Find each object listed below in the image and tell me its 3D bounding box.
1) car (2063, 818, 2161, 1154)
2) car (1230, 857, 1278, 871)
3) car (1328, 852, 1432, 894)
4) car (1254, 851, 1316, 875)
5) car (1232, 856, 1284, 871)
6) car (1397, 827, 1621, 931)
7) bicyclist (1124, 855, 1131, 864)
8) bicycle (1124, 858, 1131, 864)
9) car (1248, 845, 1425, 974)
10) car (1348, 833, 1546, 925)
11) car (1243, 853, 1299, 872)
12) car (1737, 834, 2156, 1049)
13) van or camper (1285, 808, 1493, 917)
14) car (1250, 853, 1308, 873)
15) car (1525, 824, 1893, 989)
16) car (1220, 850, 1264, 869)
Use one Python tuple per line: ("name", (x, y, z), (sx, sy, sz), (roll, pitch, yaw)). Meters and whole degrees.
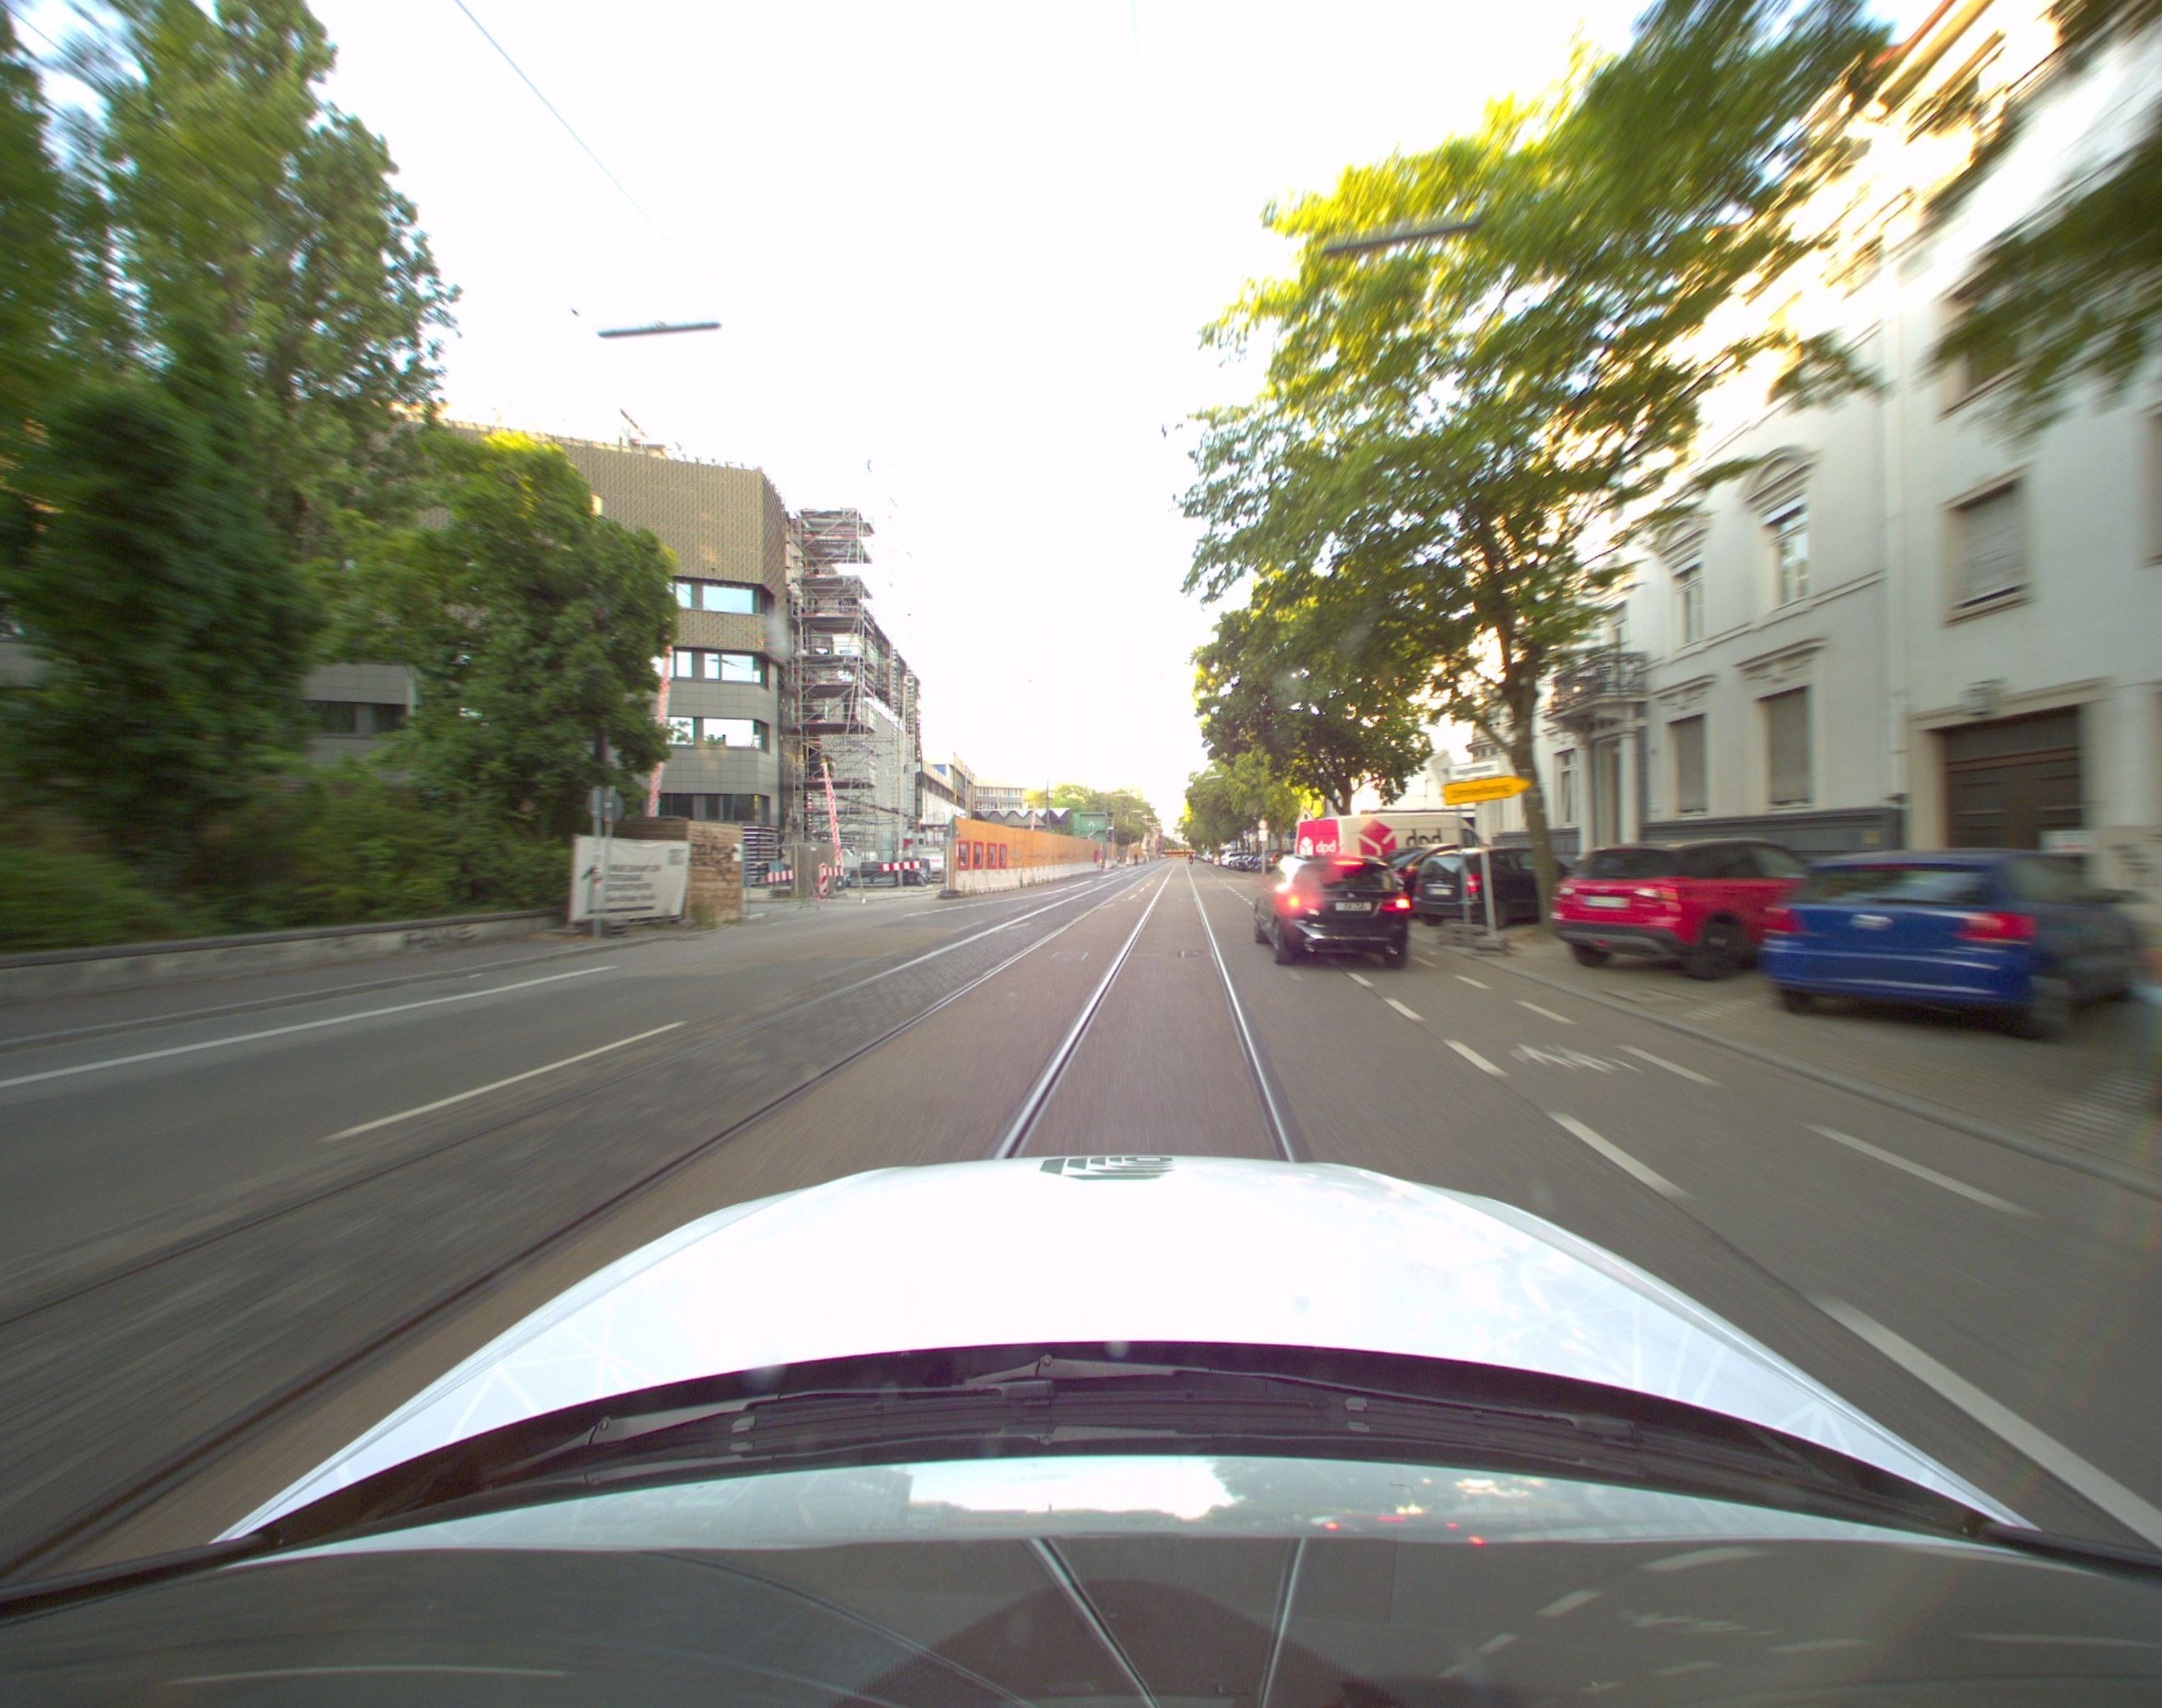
("car", (7.224, 0.528, 4.151), (3.961, 1.603, 1.825), (-3, -1, -25))
("car", (15.543, 0.865, 73.414), (3.938, 1.175, 1.630), (-1, 0, -8))
("car", (11.303, 0.697, 30.694), (3.794, 1.309, 1.638), (-4, 0, -32))
("car", (14.496, 0.621, 58.002), (3.941, 1.579, 1.629), (-1, 0, -9))
("car", (14.892, 0.797, 68.645), (3.941, 1.175, 1.629), (-1, 0, -9))
("car", (8.806, 0.470, 16.800), (3.955, 1.765, 1.828), (-4, 0, -20))
("bicyclist", (7.112, 0.776, 124.685), (0.940, 1.346, 1.113), (-1, 0, 4))
("bicycle", (7.198, 1.056, 125.503), (0.943, 0.849, 2.700), (-1, 0, 4))
("car", (3.755, 0.718, 12.668), (1.872, 1.620, 4.008), (2, 0, 7))
("car", (8.489, 0.539, 18.932), (3.955, 1.765, 1.828), (-4, 0, -20))
("car", (14.990, 0.678, 64.308), (3.941, 1.406, 1.629), (-1, 0, -9))
("car", (7.840, 0.622, 7.348), (3.660, 1.445, 1.644), (-2, -1, -28))
("van or camper", (8.488, 0.166, 22.307), (5.564, 2.530, 2.068), (-4, 0, -28))
("car", (14.856, 0.647, 61.100), (3.941, 1.406, 1.629), (-1, 0, -9))
("car", (7.977, 0.571, 10.396), (3.955, 1.603, 1.828), (-4, 0, -20))
("car", (15.799, 0.532, 80.170), (3.938, 1.722, 1.630), (-1, 0, -8))
